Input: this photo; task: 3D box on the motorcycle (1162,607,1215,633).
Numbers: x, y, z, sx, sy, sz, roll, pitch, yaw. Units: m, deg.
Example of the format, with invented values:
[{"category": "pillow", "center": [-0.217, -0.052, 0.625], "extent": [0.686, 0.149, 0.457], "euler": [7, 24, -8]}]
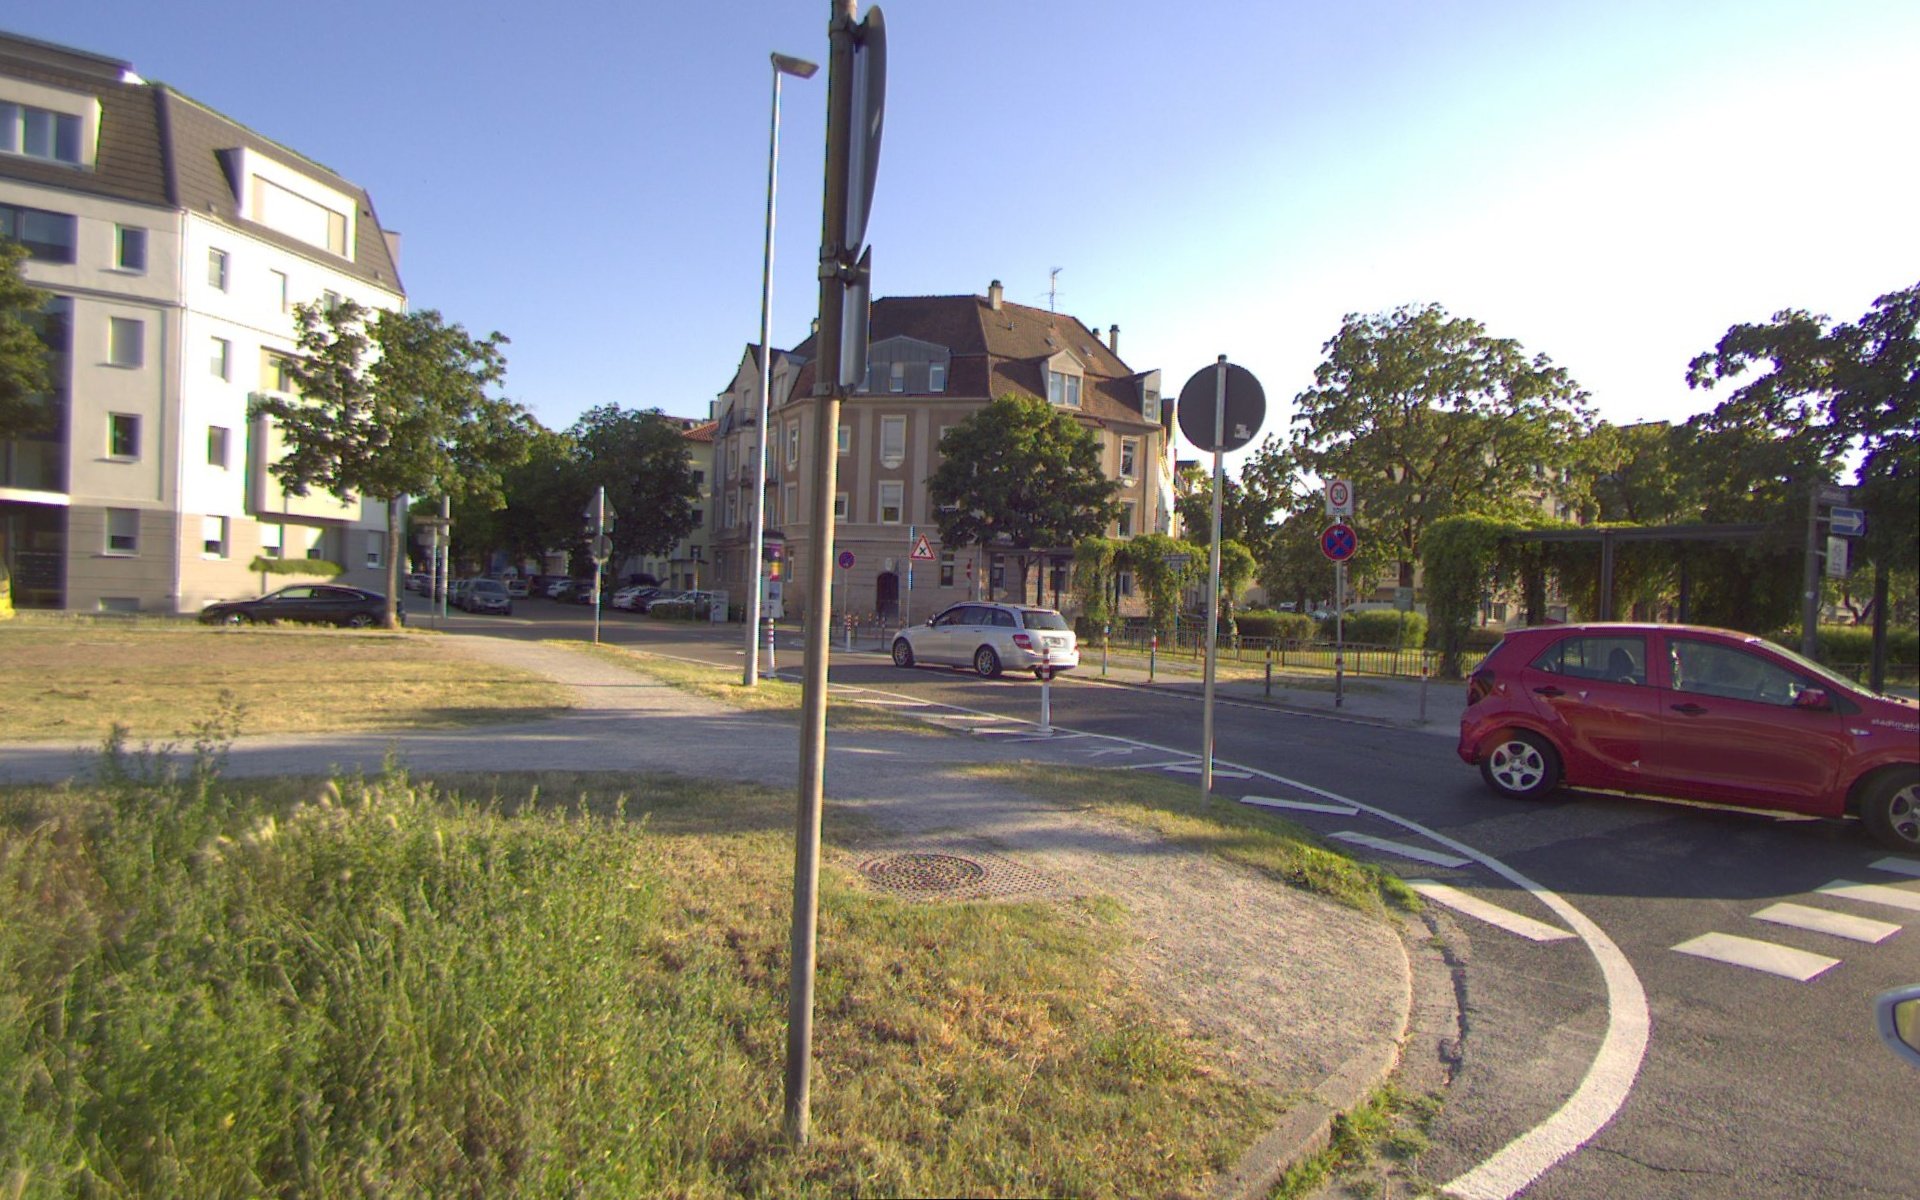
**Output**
[{"category": "motorcycle", "center": [13.949, 1.217, 61.349], "extent": [0.847, 1.506, 3.190], "euler": [3, -1, -42]}]

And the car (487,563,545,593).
[{"category": "car", "center": [-49.421, -2.443, 111.806], "extent": [5.503, 3.008, 2.448], "euler": [2, 1, -34]}]

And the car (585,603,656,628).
[{"category": "car", "center": [-22.735, 1.045, 67.312], "extent": [4.159, 1.579, 1.857], "euler": [2, 0, -33]}]

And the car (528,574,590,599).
[{"category": "car", "center": [-34.029, -1.129, 85.334], "extent": [4.590, 1.861, 1.936], "euler": [3, 0, -32]}]

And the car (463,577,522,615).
[{"category": "car", "center": [-21.752, -0.193, 46.663], "extent": [1.871, 1.612, 4.051], "euler": [2, 0, -34]}]

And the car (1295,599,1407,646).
[{"category": "car", "center": [26.010, 1.452, 66.921], "extent": [6.569, 2.781, 2.313], "euler": [2, 0, 30]}]

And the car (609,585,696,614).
[{"category": "car", "center": [-17.802, -0.015, 58.260], "extent": [4.450, 1.546, 1.933], "euler": [1, 2, -38]}]

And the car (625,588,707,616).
[{"category": "car", "center": [-16.323, 0.114, 55.850], "extent": [4.111, 1.467, 1.658], "euler": [1, 1, -33]}]

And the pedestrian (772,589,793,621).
[{"category": "pedestrian", "center": [-9.260, 0.248, 52.458], "extent": [0.805, 1.565, 0.742], "euler": [5, 2, 6]}]

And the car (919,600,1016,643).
[{"category": "car", "center": [0.359, 0.989, 46.102], "extent": [4.040, 1.764, 1.797], "euler": [2, 2, -30]}]

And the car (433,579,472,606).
[{"category": "car", "center": [-30.170, -0.453, 59.647], "extent": [1.744, 1.466, 4.107], "euler": [3, 0, -31]}]

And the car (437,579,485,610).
[{"category": "car", "center": [-27.941, -0.338, 56.183], "extent": [1.871, 1.612, 4.051], "euler": [2, 0, -34]}]

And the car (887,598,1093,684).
[{"category": "car", "center": [0.500, 0.761, 20.230], "extent": [1.808, 1.492, 4.167], "euler": [2, -1, -40]}]

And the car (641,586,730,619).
[{"category": "car", "center": [-14.135, 0.138, 51.766], "extent": [4.018, 1.525, 1.845], "euler": [2, 0, -33]}]

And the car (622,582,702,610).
[{"category": "car", "center": [-18.923, -0.245, 63.861], "extent": [4.492, 1.662, 1.857], "euler": [2, 0, -33]}]

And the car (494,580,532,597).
[{"category": "car", "center": [-48.350, -1.246, 108.690], "extent": [3.569, 1.682, 1.634], "euler": [2, 1, -34]}]

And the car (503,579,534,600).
[{"category": "car", "center": [-34.396, -0.801, 78.257], "extent": [1.801, 1.492, 4.184], "euler": [2, -1, -29]}]

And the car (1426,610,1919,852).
[{"category": "car", "center": [6.015, 0.913, 8.144], "extent": [3.716, 1.546, 1.762], "euler": [1, -1, 41]}]

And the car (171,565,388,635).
[{"category": "car", "center": [-18.609, 0.020, 27.760], "extent": [4.785, 1.691, 1.773], "euler": [3, 0, -31]}]

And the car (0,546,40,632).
[{"category": "car", "center": [-25.096, -0.358, 23.682], "extent": [4.644, 2.040, 2.015], "euler": [2, 0, -33]}]

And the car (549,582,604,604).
[{"category": "car", "center": [-29.719, -0.547, 77.888], "extent": [3.702, 1.579, 1.709], "euler": [2, 0, -33]}]

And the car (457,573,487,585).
[{"category": "car", "center": [-72.003, -3.087, 148.201], "extent": [3.813, 1.502, 1.790], "euler": [2, 1, -31]}]
